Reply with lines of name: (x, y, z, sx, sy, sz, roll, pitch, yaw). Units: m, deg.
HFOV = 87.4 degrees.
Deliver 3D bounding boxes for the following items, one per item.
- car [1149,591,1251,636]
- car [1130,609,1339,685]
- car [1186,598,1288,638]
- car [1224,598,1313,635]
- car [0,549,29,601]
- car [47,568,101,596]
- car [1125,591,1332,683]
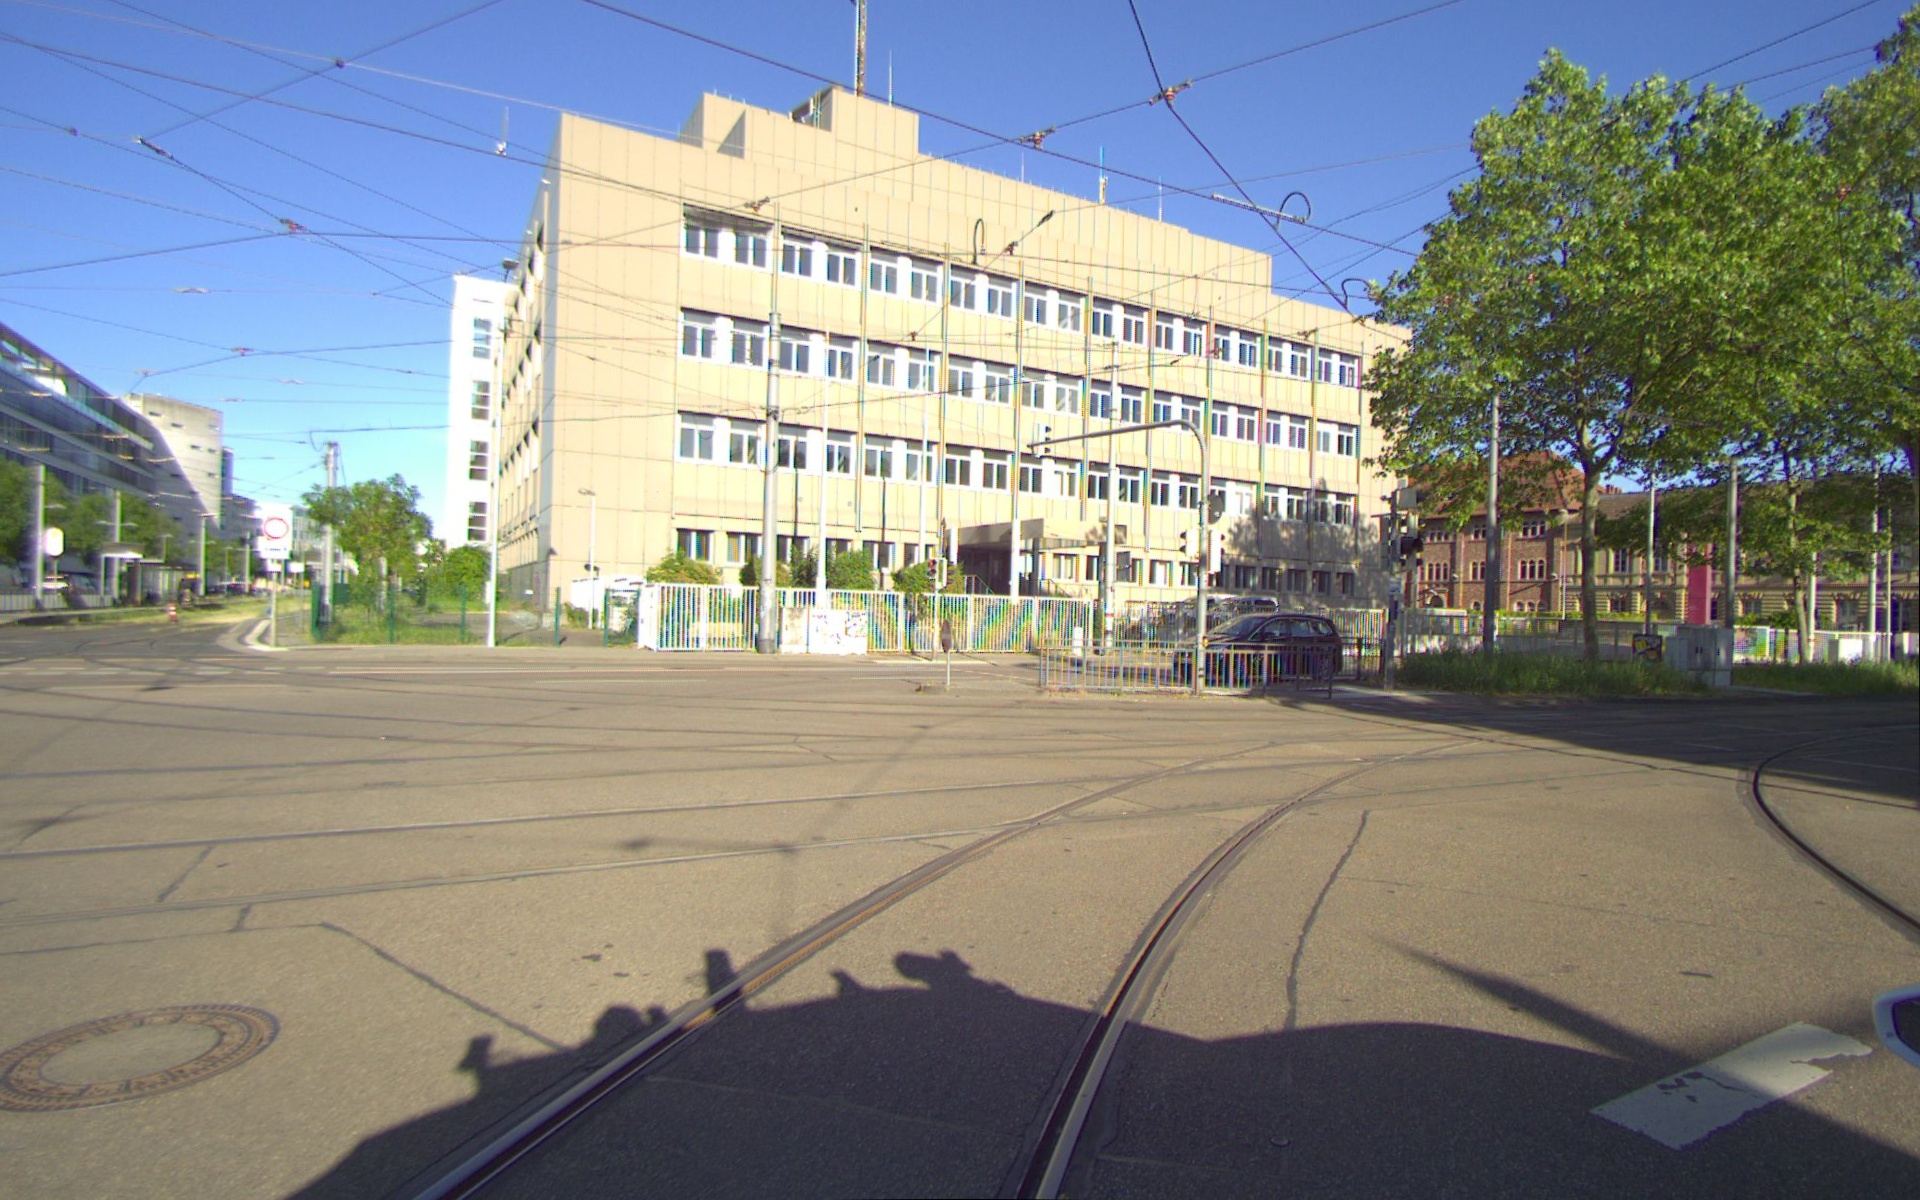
car: (11.874, 0.681, 49.753, 4.660, 2.040, 1.988, 2, -1, -25)
car: (6.513, 1.103, 23.698, 4.697, 1.638, 1.985, 2, -1, -29)
car: (12.900, 0.830, 46.852, 4.318, 1.726, 1.988, 2, -1, -25)
car: (18.018, 0.941, 58.837, 1.980, 2.040, 4.708, 2, -1, -35)
car: (-48.325, -1.279, 49.899, 2.158, 2.538, 4.363, 3, -1, -31)
car: (-54.366, -1.076, 61.692, 1.734, 1.579, 3.916, 3, -1, -31)
car: (6.270, 0.860, 23.462, 4.361, 1.973, 1.989, 2, 0, -23)
